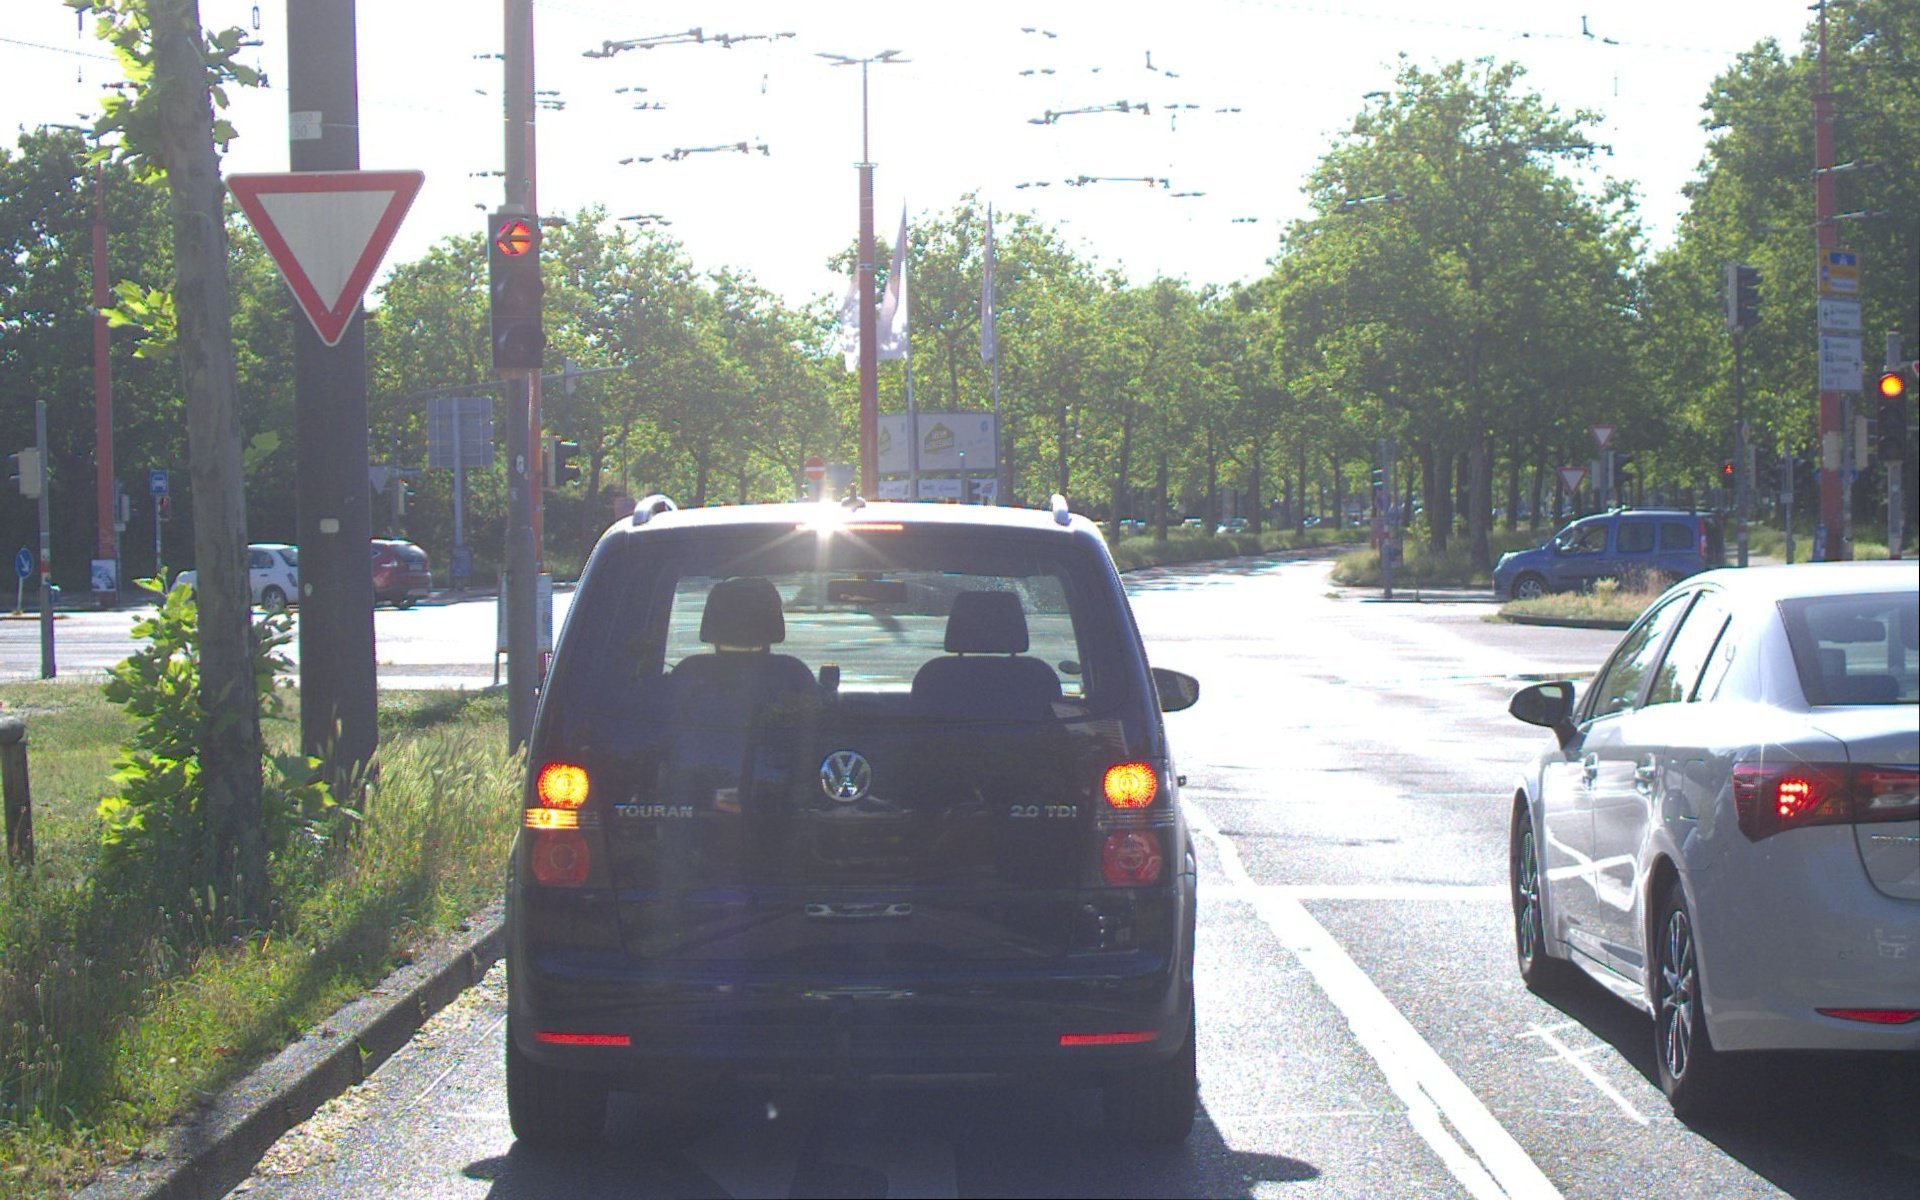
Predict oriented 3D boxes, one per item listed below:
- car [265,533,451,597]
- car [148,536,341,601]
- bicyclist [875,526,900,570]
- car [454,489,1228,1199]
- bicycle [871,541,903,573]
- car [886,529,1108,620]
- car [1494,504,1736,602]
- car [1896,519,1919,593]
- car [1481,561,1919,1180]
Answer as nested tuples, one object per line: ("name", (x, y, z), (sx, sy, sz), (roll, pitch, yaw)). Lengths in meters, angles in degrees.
("car", (-14.202, -0.848, 81.099), (4.124, 1.466, 1.654), (1, 1, 26))
("car", (-16.105, -0.724, 77.374), (4.125, 1.398, 1.654), (1, 1, 27))
("bicyclist", (-3.123, -2.249, 148.171), (0.976, 1.897, 1.050), (0, 1, 7))
("car", (-0.253, 0.537, 9.976), (1.738, 1.597, 4.326), (1, 1, 1))
("bicycle", (-3.129, -1.852, 148.137), (0.976, 1.384, 2.979), (0, 1, 7))
("car", (0.749, -0.537, 69.447), (4.124, 1.784, 1.797), (1, 1, 23))
("car", (12.210, -0.894, 64.088), (4.124, 1.784, 1.796), (1, 1, 24))
("car", (19.754, -0.819, 64.295), (4.124, 1.398, 1.654), (1, 1, 25))
("car", (2.757, 0.617, 10.155), (1.799, 1.435, 4.326), (1, 1, 1))
